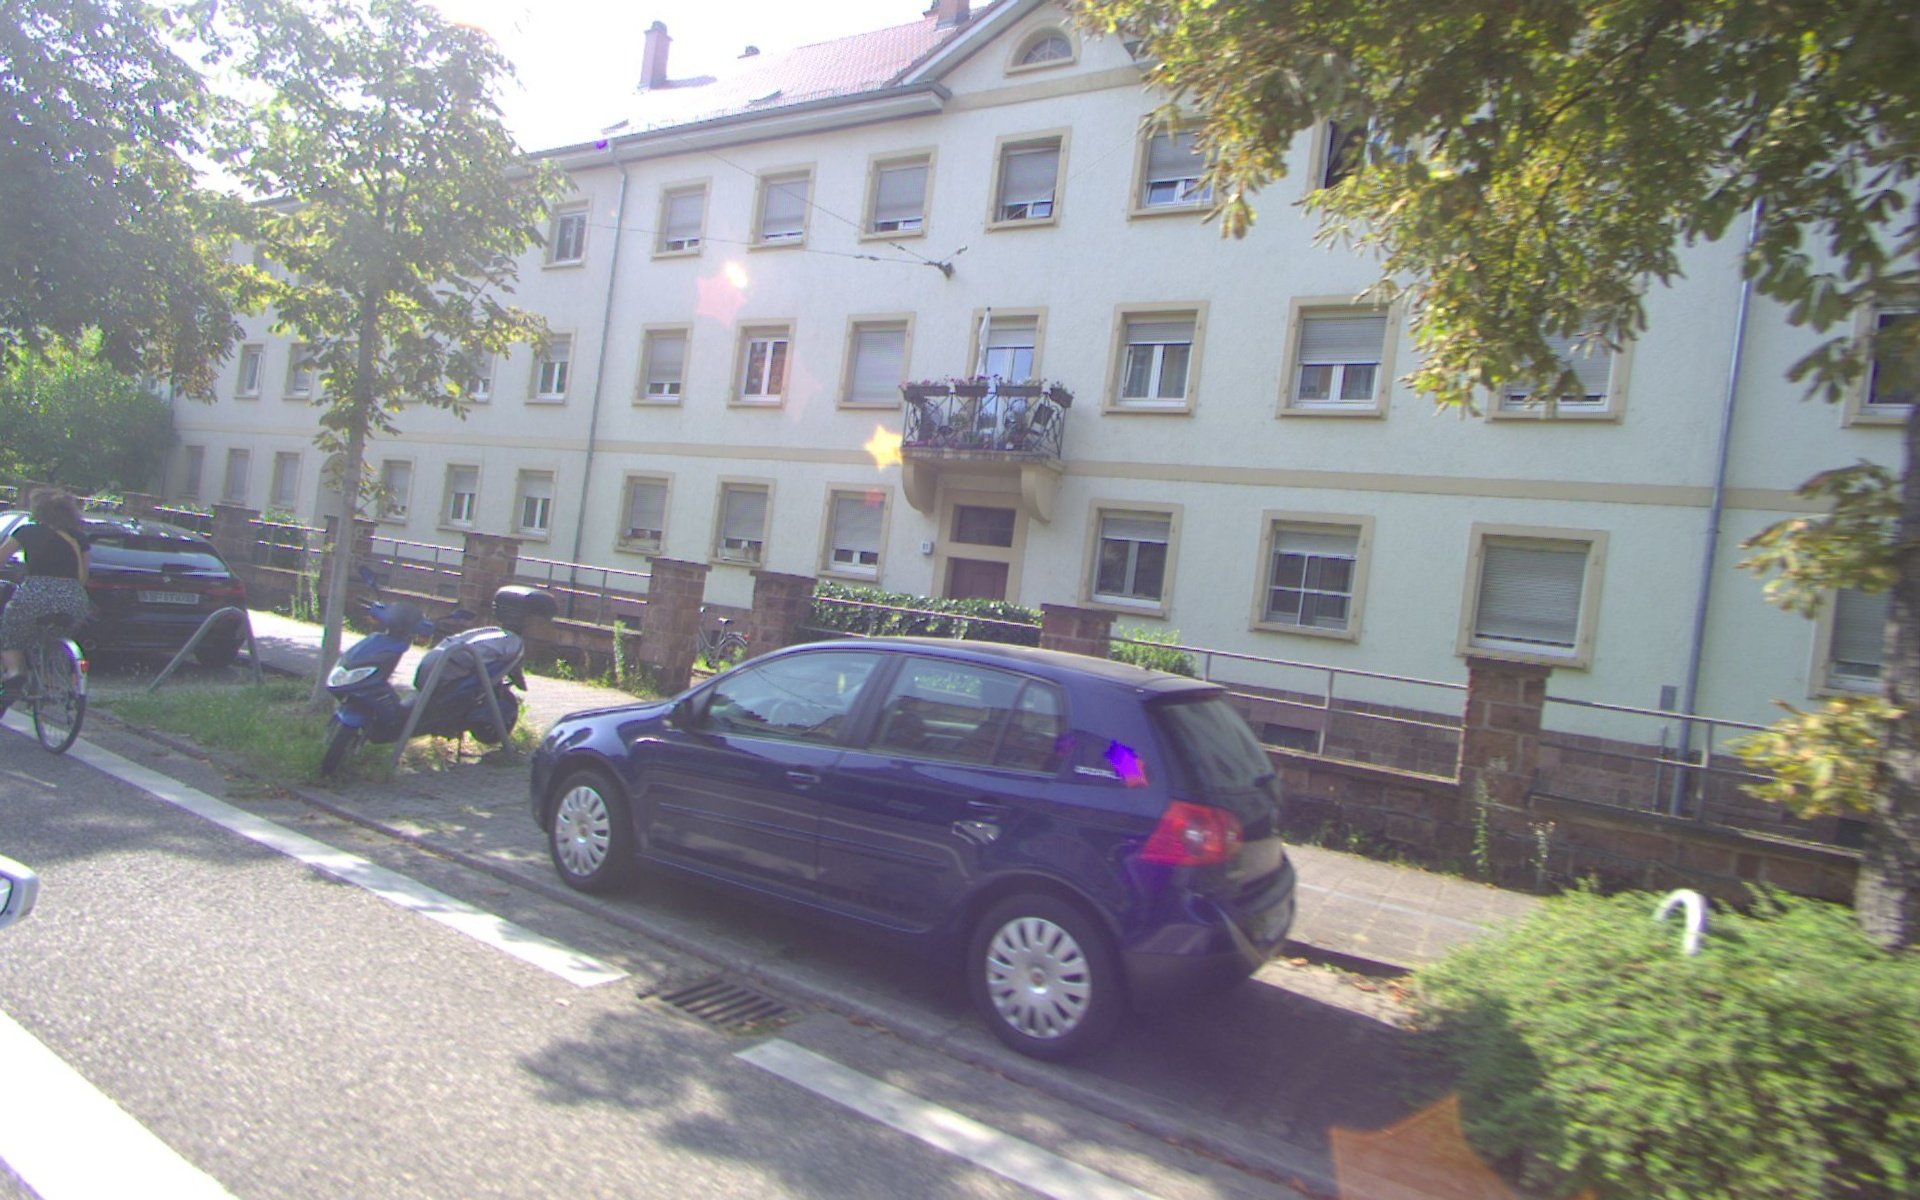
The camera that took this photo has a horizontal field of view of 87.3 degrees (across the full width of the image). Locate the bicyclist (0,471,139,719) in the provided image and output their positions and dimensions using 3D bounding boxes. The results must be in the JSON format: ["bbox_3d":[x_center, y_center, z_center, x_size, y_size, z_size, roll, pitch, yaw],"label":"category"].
[{"bbox_3d":[-6.083,-0.043,6.578,0.893,1.490,0.656,7,-2,29],"label":"bicyclist"}]

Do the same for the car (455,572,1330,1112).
[{"bbox_3d":[-0.504,0.839,5.168,4.174,1.466,1.647,7,1,30],"label":"car"}]

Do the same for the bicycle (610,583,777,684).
[{"bbox_3d":[-3.846,0.471,14.469,2.292,1.117,0.773,8,0,28],"label":"bicycle"}]

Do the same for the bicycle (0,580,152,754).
[{"bbox_3d":[-6.157,0.390,6.579,1.744,0.919,0.656,7,-2,29],"label":"bicycle"}]

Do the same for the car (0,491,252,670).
[{"bbox_3d":[-9.485,-0.313,10.525,4.262,1.453,1.691,7,2,30],"label":"car"}]

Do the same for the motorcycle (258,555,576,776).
[{"bbox_3d":[-3.875,0.433,7.357,0.692,1.307,1.856,13,5,27],"label":"motorcycle"}]
